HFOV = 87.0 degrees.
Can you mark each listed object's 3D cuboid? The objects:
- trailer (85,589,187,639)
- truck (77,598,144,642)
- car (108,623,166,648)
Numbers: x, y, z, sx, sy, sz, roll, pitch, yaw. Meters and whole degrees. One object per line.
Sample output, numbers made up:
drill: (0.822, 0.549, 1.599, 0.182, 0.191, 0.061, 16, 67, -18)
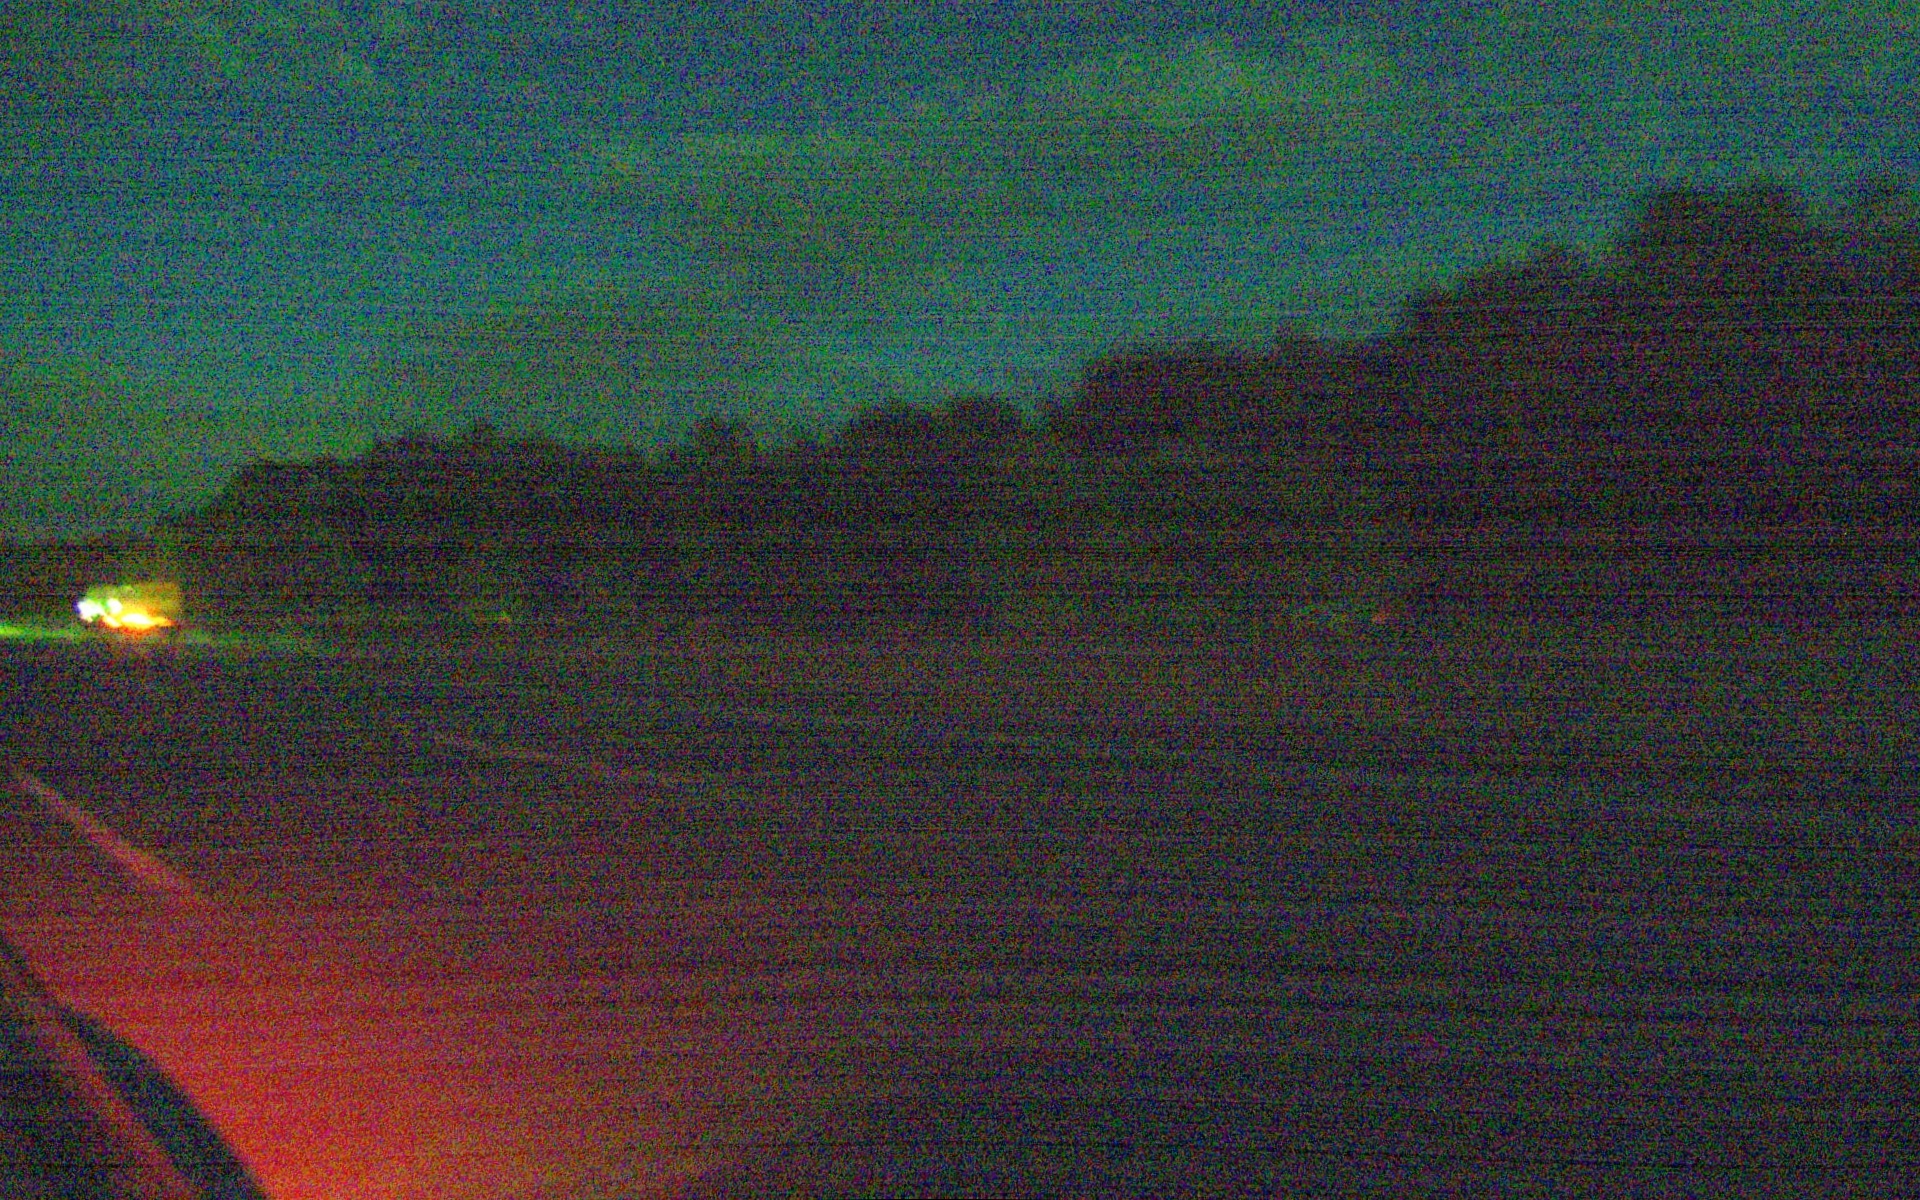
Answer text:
trailer: (-72.863, 1.241, 89.260, 17.262, 4.030, 3.508, -1, -1, 39)
truck: (-79.153, 1.814, 94.282, 6.690, 4.000, 3.469, -1, -1, 38)
car: (-50.482, 2.152, 62.047, 4.395, 1.479, 1.973, -1, -1, 40)
